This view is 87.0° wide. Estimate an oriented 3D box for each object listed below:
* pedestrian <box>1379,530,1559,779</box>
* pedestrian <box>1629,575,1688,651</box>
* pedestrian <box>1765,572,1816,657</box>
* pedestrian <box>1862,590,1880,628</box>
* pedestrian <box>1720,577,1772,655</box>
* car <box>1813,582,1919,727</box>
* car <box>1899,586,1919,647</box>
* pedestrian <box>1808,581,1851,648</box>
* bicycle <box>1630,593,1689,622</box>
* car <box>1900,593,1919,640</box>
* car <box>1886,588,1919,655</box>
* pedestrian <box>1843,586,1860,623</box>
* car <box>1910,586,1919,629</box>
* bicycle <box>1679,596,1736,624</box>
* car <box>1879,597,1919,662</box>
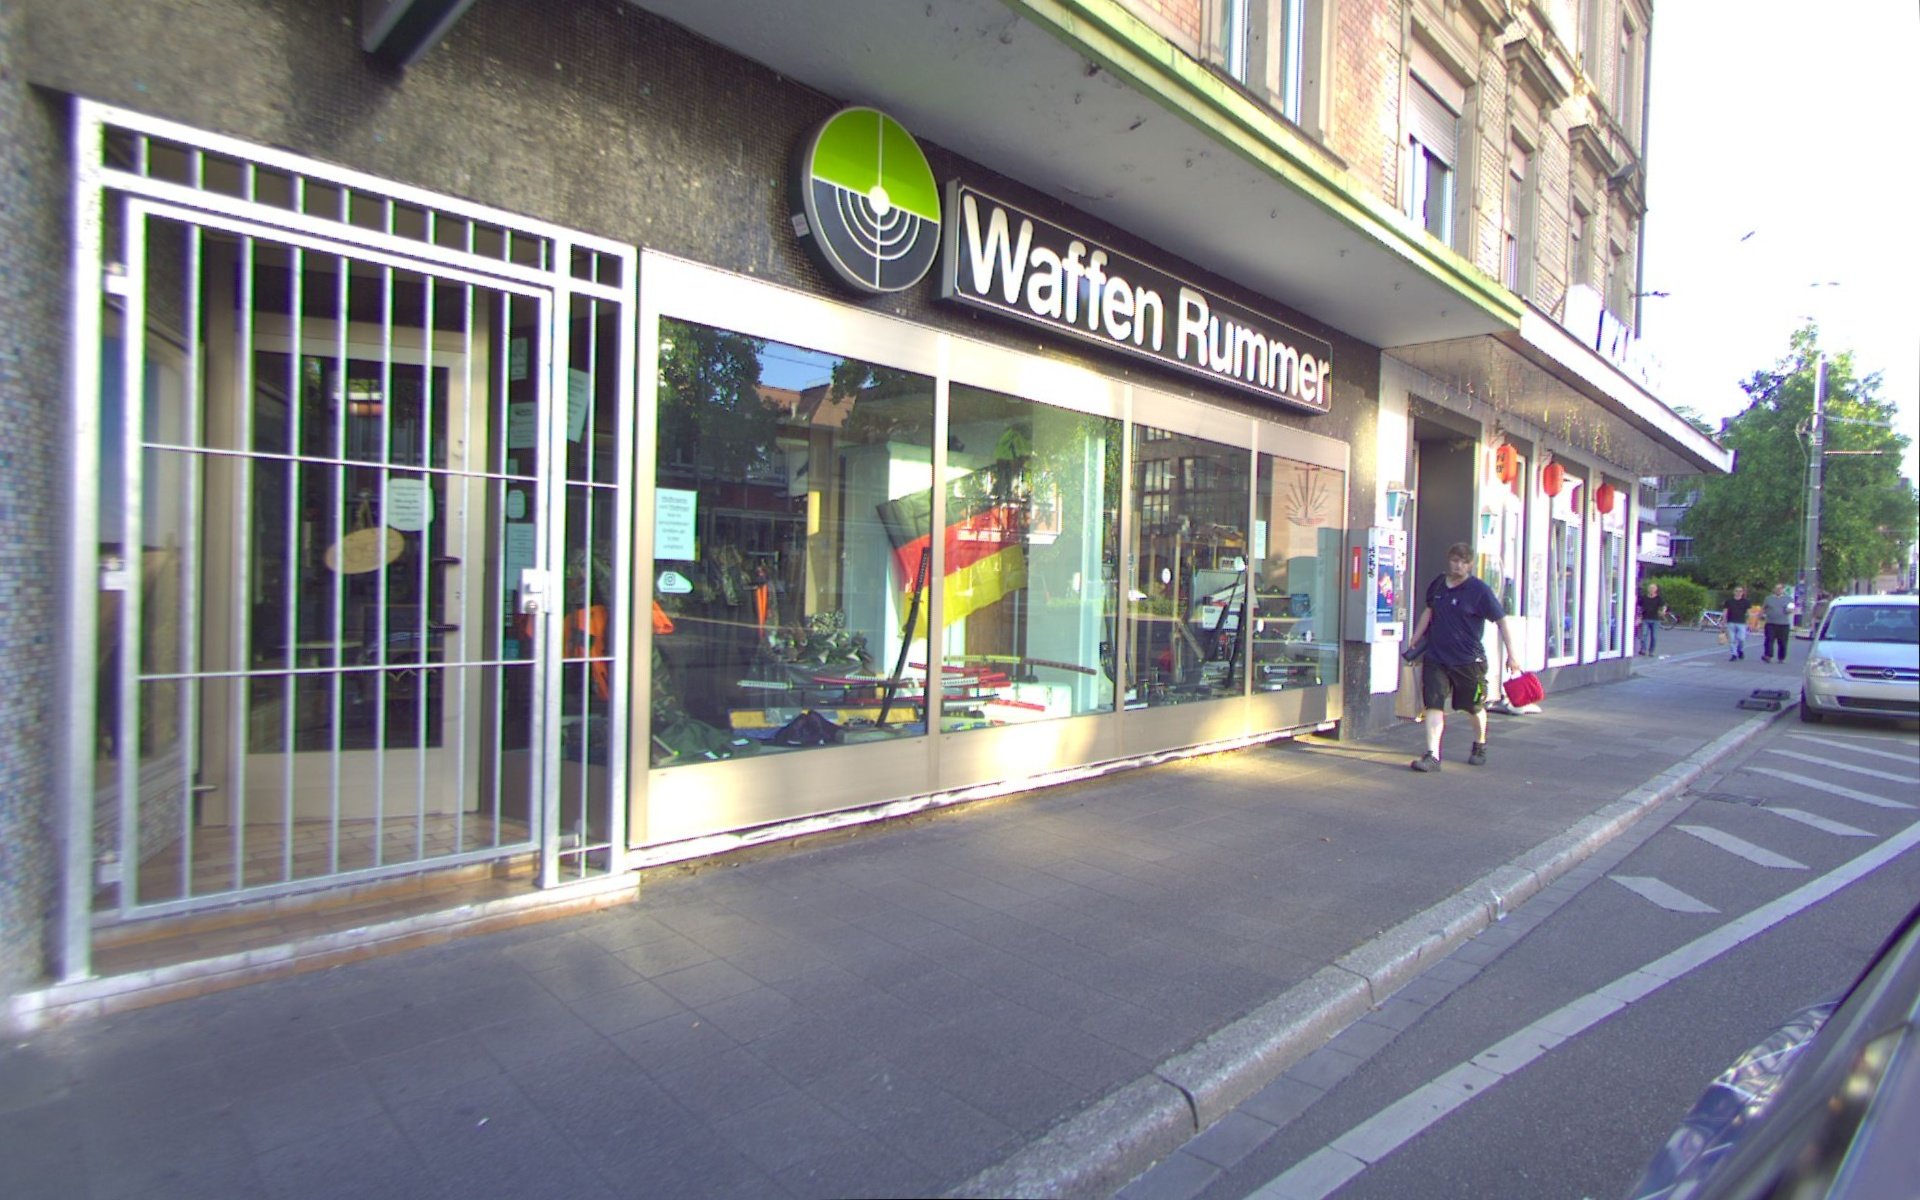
[{"bbox_3d":[4.068,0.375,8.083,0.947,1.814,1.038,4,2,45],"label":"pedestrian"},{"bbox_3d":[16.732,0.294,24.252,0.901,1.734,1.016,5,4,45],"label":"pedestrian"},{"bbox_3d":[19.600,0.324,23.877,0.794,1.922,1.016,3,2,45],"label":"pedestrian"},{"bbox_3d":[42.362,0.414,47.071,0.493,1.734,0.430,5,3,45],"label":"pedestrian"},{"bbox_3d":[18.803,0.363,24.200,0.811,1.778,1.016,3,2,45],"label":"pedestrian"},{"bbox_3d":[12.161,0.614,12.986,1.637,1.635,3.883,1,1,43],"label":"car"},{"bbox_3d":[30.787,0.504,31.884,1.675,1.831,4.181,1,0,44],"label":"car"},{"bbox_3d":[23.755,0.384,27.640,0.788,1.759,0.930,2,1,45],"label":"pedestrian"},{"bbox_3d":[30.131,0.322,43.606,2.011,1.109,0.628,4,2,39],"label":"bicycle"},{"bbox_3d":[34.898,0.563,36.112,4.255,1.616,1.788,0,0,-44],"label":"car"},{"bbox_3d":[27.320,0.550,28.399,1.821,1.779,4.403,1,1,44],"label":"car"},{"bbox_3d":[41.926,0.205,47.594,0.493,1.734,0.430,5,3,45],"label":"pedestrian"},{"bbox_3d":[47.710,0.351,49.325,1.878,2.047,4.825,1,0,45],"label":"car"},{"bbox_3d":[31.806,0.427,43.068,1.881,1.109,0.462,3,2,44],"label":"bicycle"},{"bbox_3d":[23.743,0.676,24.874,1.637,1.511,3.735,-1,-1,43],"label":"car"}]
